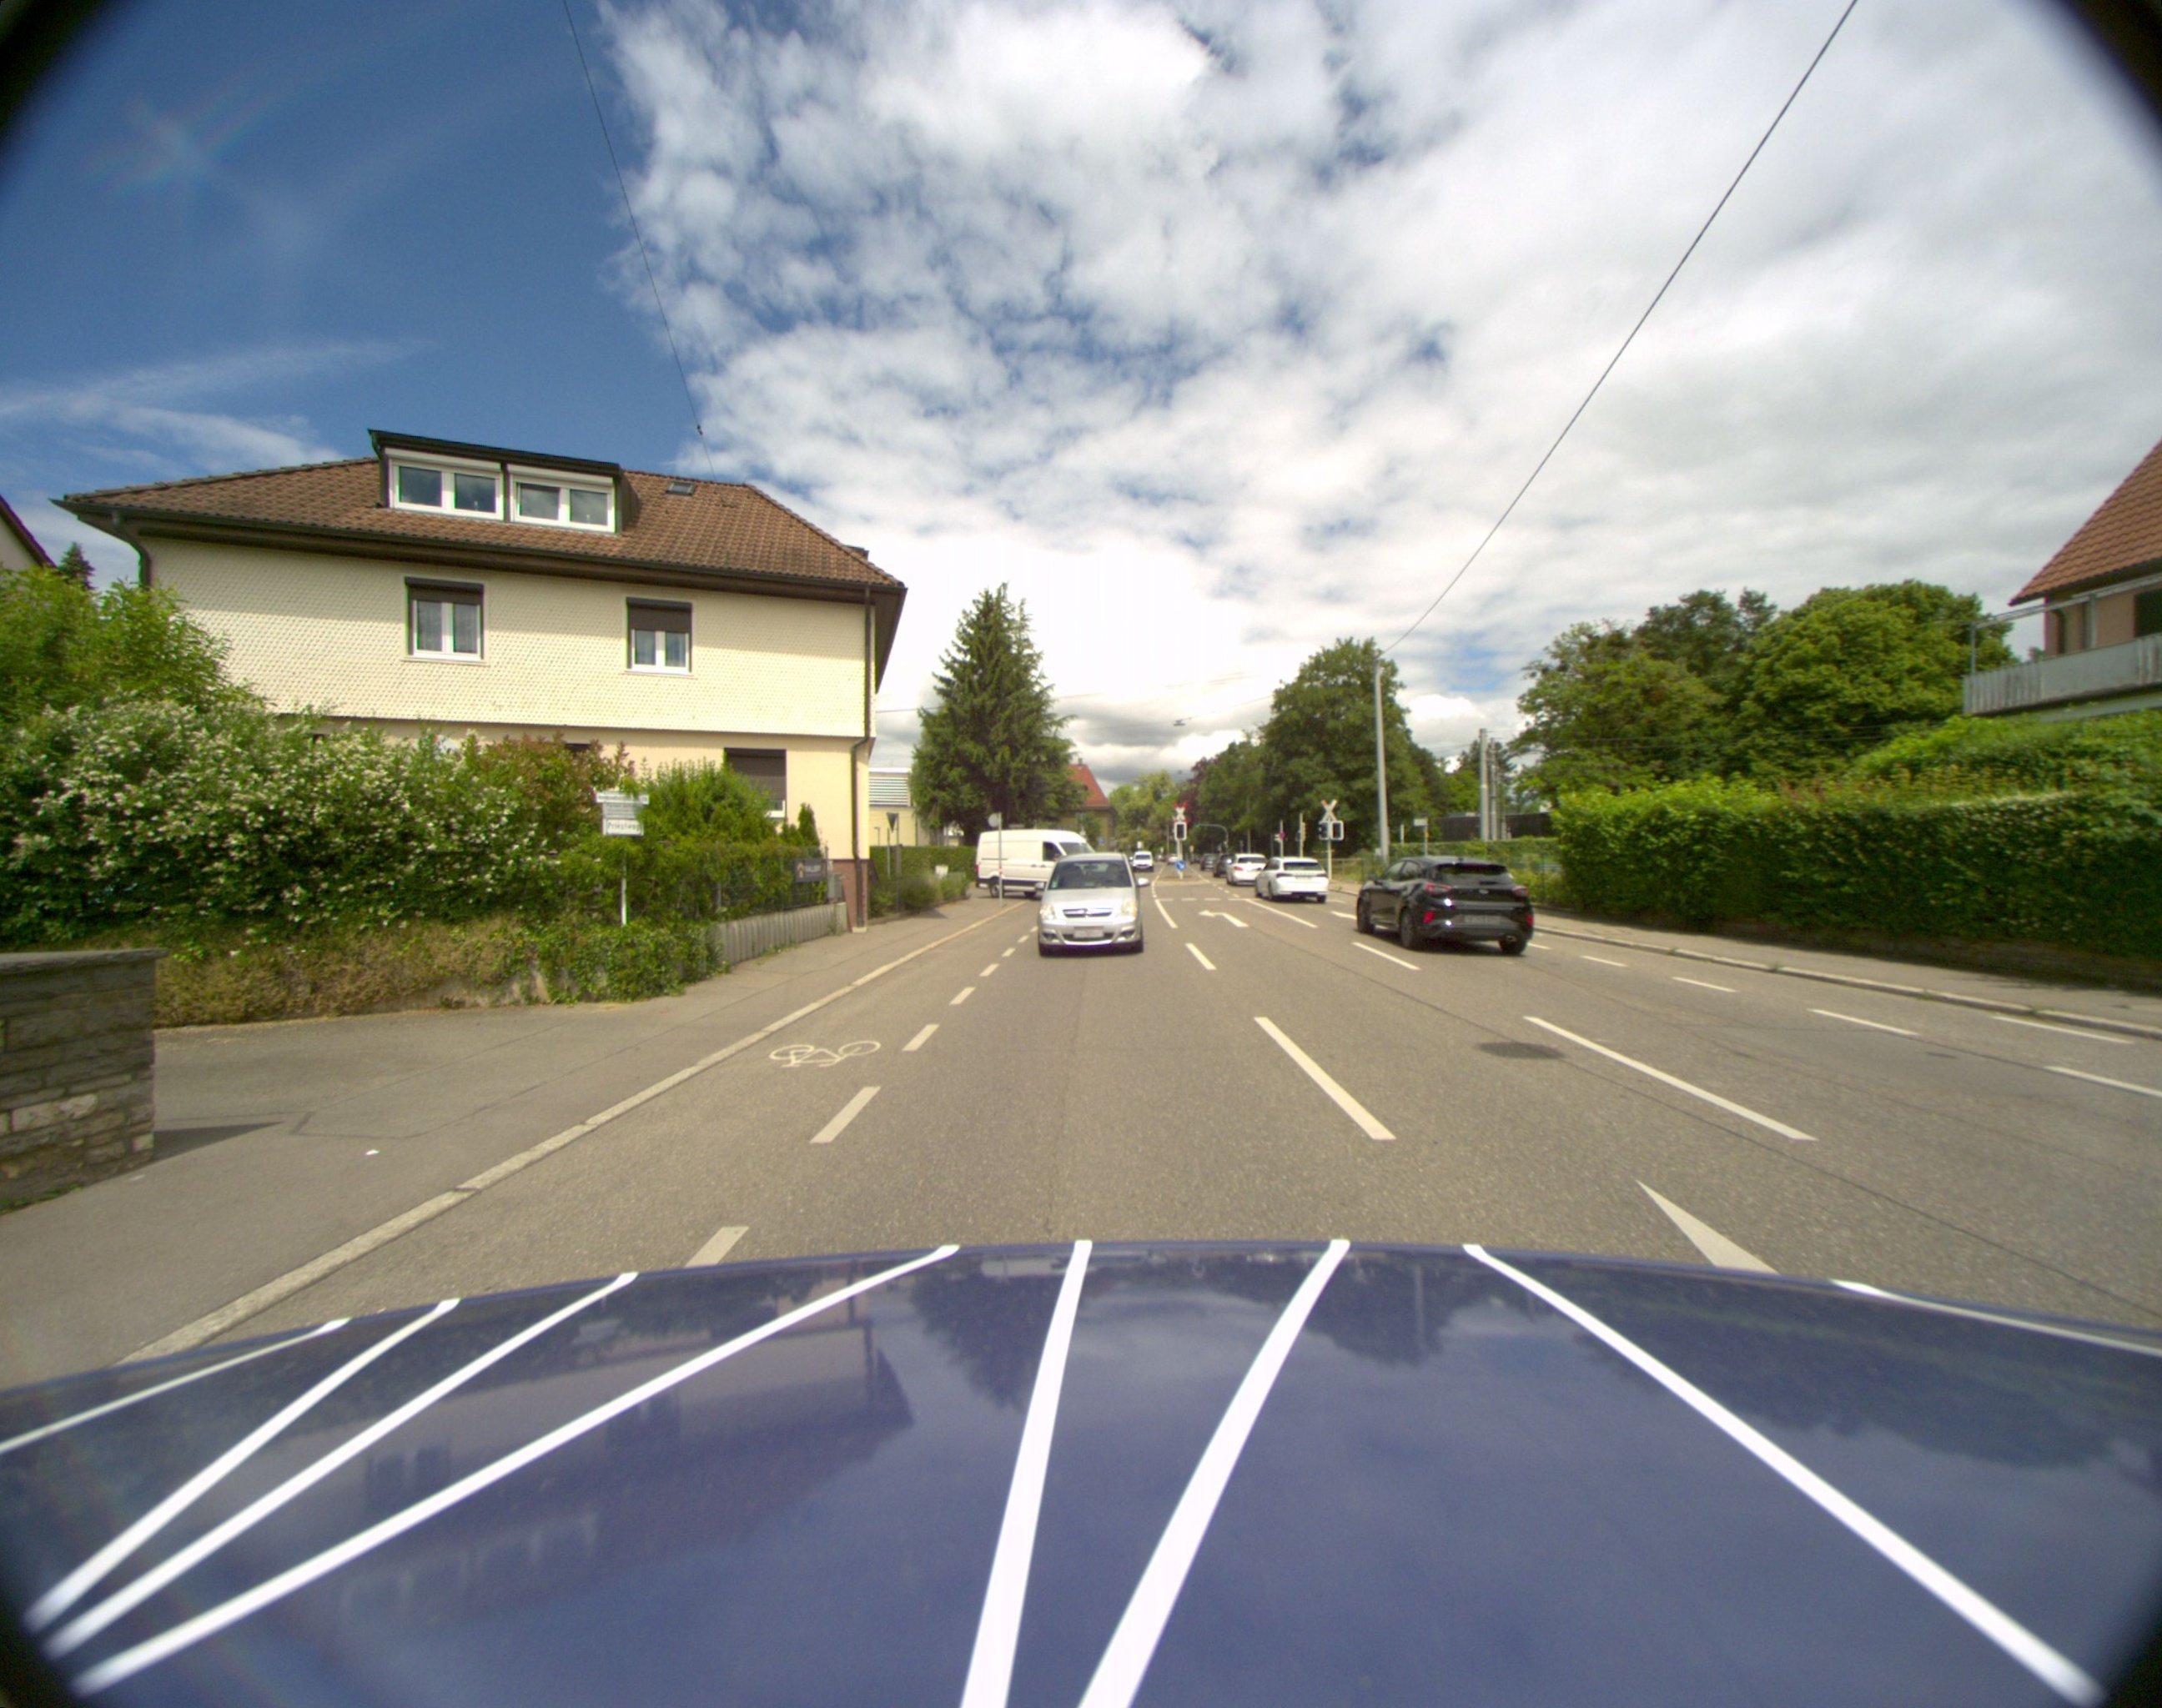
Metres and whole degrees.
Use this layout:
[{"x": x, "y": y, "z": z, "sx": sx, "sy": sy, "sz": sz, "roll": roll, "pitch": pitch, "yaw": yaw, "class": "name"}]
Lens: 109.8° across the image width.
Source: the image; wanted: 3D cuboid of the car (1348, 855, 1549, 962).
[{"x": 5.989, "y": 0.783, "z": 12.970, "sx": 1.700, "sy": 1.448, "sz": 4.117, "roll": 1, "pitch": 1, "yaw": 5, "class": "car"}]

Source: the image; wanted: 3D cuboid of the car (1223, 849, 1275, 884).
[{"x": 8.081, "y": 0.569, "z": 36.923, "sx": 1.851, "sy": 1.565, "sz": 4.160, "roll": -1, "pitch": 0, "yaw": 4, "class": "car"}]

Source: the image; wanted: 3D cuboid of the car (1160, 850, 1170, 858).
[{"x": 15.691, "y": -0.082, "z": 142.177, "sx": 1.932, "sy": 1.412, "sz": 4.001, "roll": -2, "pitch": 0, "yaw": 6, "class": "car"}]

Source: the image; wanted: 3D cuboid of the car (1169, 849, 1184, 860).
[{"x": 13.083, "y": 0.036, "z": 104.630, "sx": 1.932, "sy": 1.412, "sz": 4.001, "roll": -2, "pitch": 0, "yaw": 6, "class": "car"}]

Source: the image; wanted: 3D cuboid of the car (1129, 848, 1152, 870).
[{"x": 5.288, "y": 0.398, "z": 67.198, "sx": 1.932, "sy": 1.771, "sz": 4.001, "roll": -2, "pitch": 0, "yaw": 5, "class": "car"}]

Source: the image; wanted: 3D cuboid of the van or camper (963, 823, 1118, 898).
[{"x": -1.650, "y": 0.316, "z": 28.737, "sx": 5.906, "sy": 2.565, "sz": 2.035, "roll": -3, "pitch": -1, "yaw": 39, "class": "van or camper"}]

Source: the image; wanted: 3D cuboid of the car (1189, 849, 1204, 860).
[{"x": 16.686, "y": 0.034, "z": 109.538, "sx": 1.932, "sy": 1.412, "sz": 4.001, "roll": -2, "pitch": 0, "yaw": 6, "class": "car"}]

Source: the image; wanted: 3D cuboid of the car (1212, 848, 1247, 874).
[{"x": 9.865, "y": 0.438, "z": 50.730, "sx": 1.801, "sy": 1.583, "sz": 4.001, "roll": -2, "pitch": 0, "yaw": 4, "class": "car"}]

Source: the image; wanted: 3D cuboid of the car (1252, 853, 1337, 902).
[{"x": 7.024, "y": 0.723, "z": 25.478, "sx": 1.880, "sy": 1.467, "sz": 4.443, "roll": 0, "pitch": 0, "yaw": 4, "class": "car"}]

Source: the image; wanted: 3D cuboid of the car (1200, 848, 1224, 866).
[{"x": 12.101, "y": 0.245, "z": 70.316, "sx": 1.784, "sy": 1.576, "sz": 4.001, "roll": -1, "pitch": 0, "yaw": 4, "class": "car"}]

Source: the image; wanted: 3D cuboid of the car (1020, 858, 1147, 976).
[{"x": 0.187, "y": 0.888, "z": 12.670, "sx": 1.707, "sy": 1.531, "sz": 4.331, "roll": -2, "pitch": 0, "yaw": 4, "class": "car"}]
